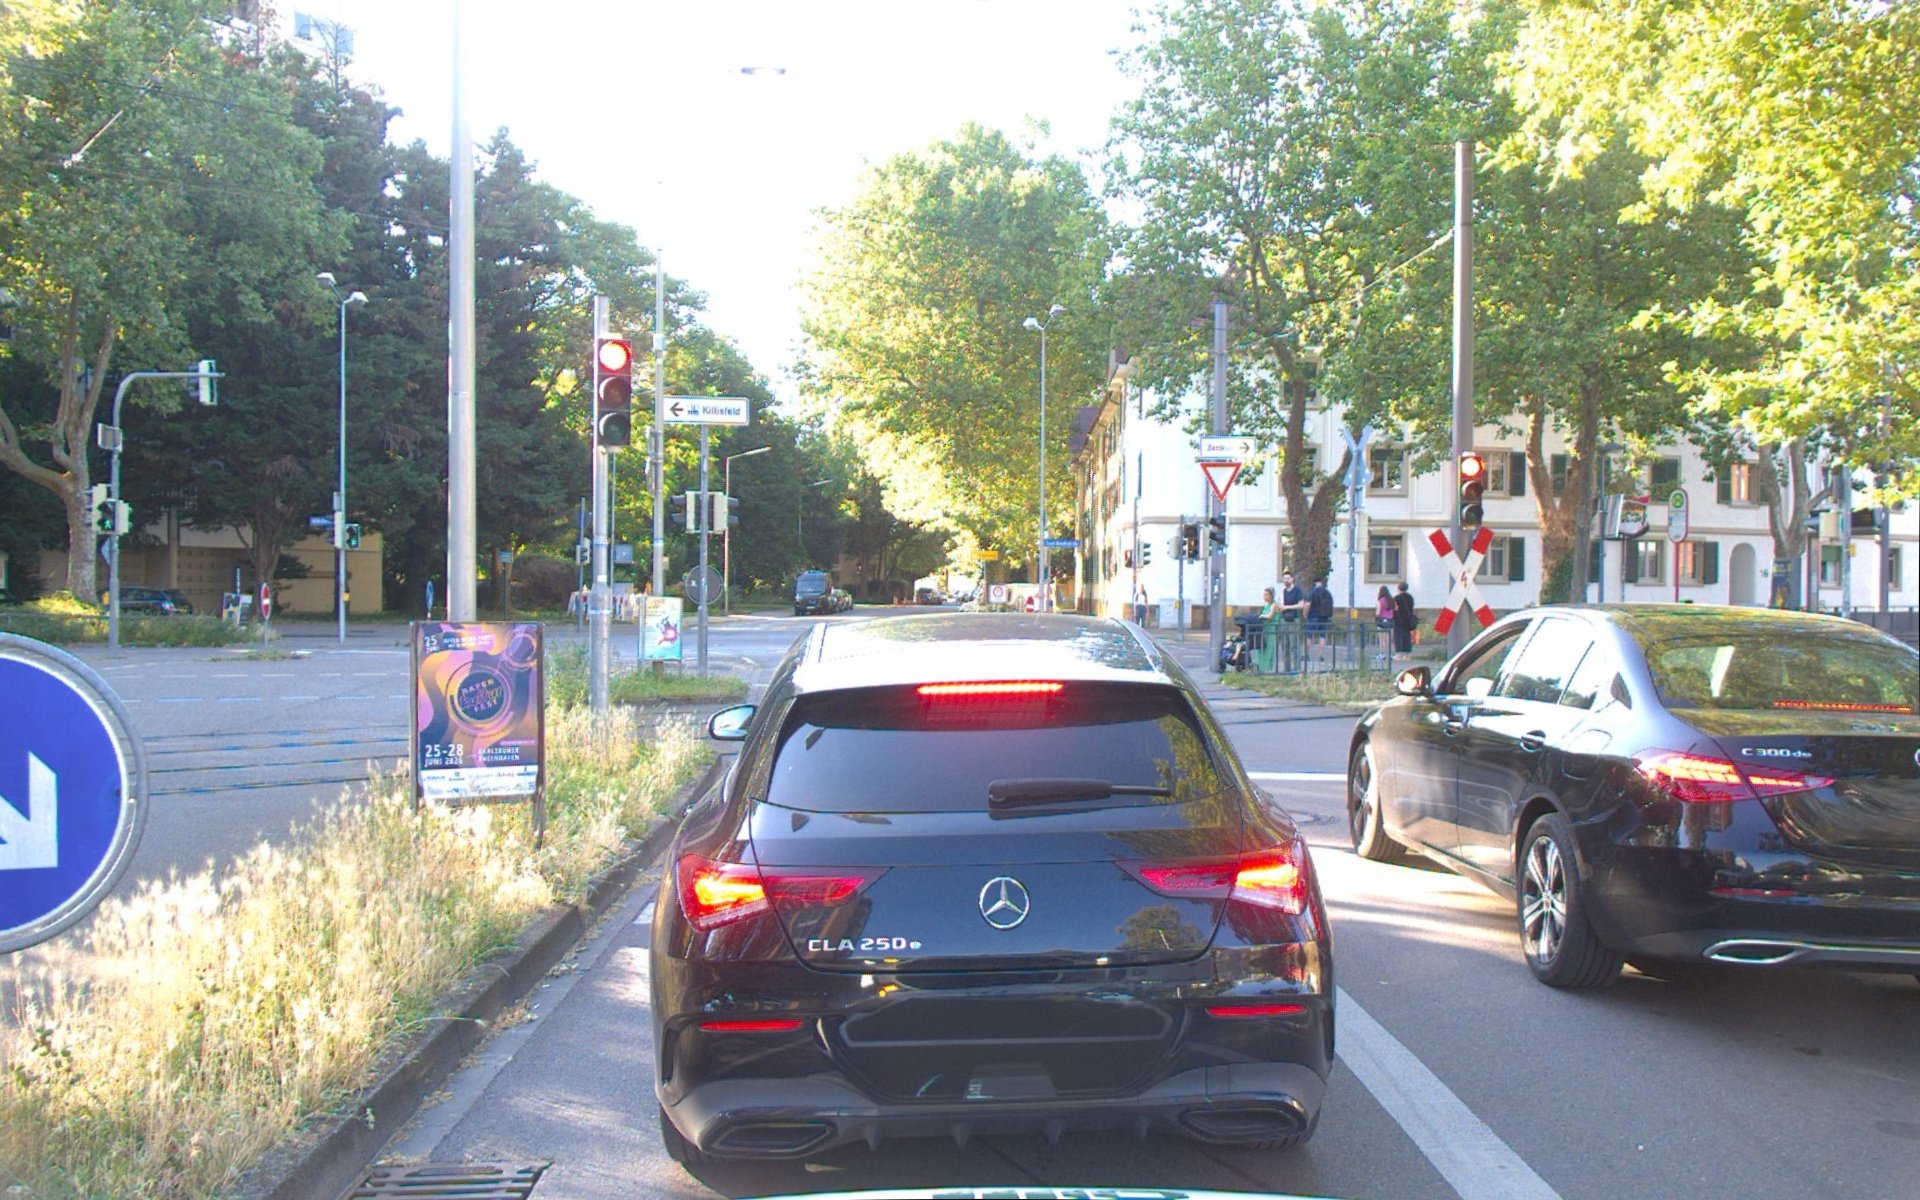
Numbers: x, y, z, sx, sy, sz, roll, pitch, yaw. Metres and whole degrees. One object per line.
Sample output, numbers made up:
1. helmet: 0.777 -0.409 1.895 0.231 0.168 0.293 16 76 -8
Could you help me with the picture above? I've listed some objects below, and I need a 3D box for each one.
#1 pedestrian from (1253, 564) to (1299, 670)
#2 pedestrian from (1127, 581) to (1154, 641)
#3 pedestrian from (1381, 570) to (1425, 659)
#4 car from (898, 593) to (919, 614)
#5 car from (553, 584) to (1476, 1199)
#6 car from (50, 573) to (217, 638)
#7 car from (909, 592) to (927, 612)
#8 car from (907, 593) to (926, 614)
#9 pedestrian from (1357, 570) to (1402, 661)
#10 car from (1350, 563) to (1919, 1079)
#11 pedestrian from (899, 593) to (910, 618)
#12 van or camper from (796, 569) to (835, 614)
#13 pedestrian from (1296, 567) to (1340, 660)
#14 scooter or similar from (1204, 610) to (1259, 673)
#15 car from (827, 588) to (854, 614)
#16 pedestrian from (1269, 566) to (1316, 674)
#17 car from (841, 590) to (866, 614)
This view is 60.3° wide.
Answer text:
1. pedestrian: 5.915 0.309 30.977 0.669 1.951 0.706 1 -1 -5
2. pedestrian: 5.915 0.356 54.242 0.691 1.951 0.838 1 -1 -4
3. pedestrian: 9.861 0.318 36.816 0.691 1.951 0.838 1 -1 -4
4. car: -4.520 0.348 145.436 1.698 1.796 4.018 1 0 -1
5. car: 0.125 0.762 5.359 1.851 1.475 4.001 1 2 0
6. car: -24.376 0.151 48.851 3.902 1.805 2.001 1 0 7
7. car: -3.994 0.206 158.404 1.698 1.796 4.018 1 0 -1
8. car: -3.946 0.317 150.320 1.698 1.796 4.018 1 0 -1
9. pedestrian: 9.070 0.331 35.804 0.691 1.951 0.838 1 -1 -4
10. car: 3.165 0.651 7.310 1.851 1.516 4.382 1 2 0
11. pedestrian: -4.358 0.454 129.955 0.692 1.951 0.837 1 -1 -11
12. van or camper: -8.679 -0.483 99.616 1.953 2.586 4.650 1 0 -1
13. pedestrian: 7.668 0.288 35.446 0.691 1.951 0.838 1 -1 -4
14. scooter or similar: 4.995 0.753 30.455 0.812 1.124 0.808 1 0 -6
15. car: -8.479 0.101 117.439 1.698 1.796 4.084 1 0 -1
16. pedestrian: 6.072 0.362 30.207 0.669 1.951 0.707 1 -1 -3
17. car: -8.126 0.144 126.279 1.698 1.796 3.970 1 0 -1
